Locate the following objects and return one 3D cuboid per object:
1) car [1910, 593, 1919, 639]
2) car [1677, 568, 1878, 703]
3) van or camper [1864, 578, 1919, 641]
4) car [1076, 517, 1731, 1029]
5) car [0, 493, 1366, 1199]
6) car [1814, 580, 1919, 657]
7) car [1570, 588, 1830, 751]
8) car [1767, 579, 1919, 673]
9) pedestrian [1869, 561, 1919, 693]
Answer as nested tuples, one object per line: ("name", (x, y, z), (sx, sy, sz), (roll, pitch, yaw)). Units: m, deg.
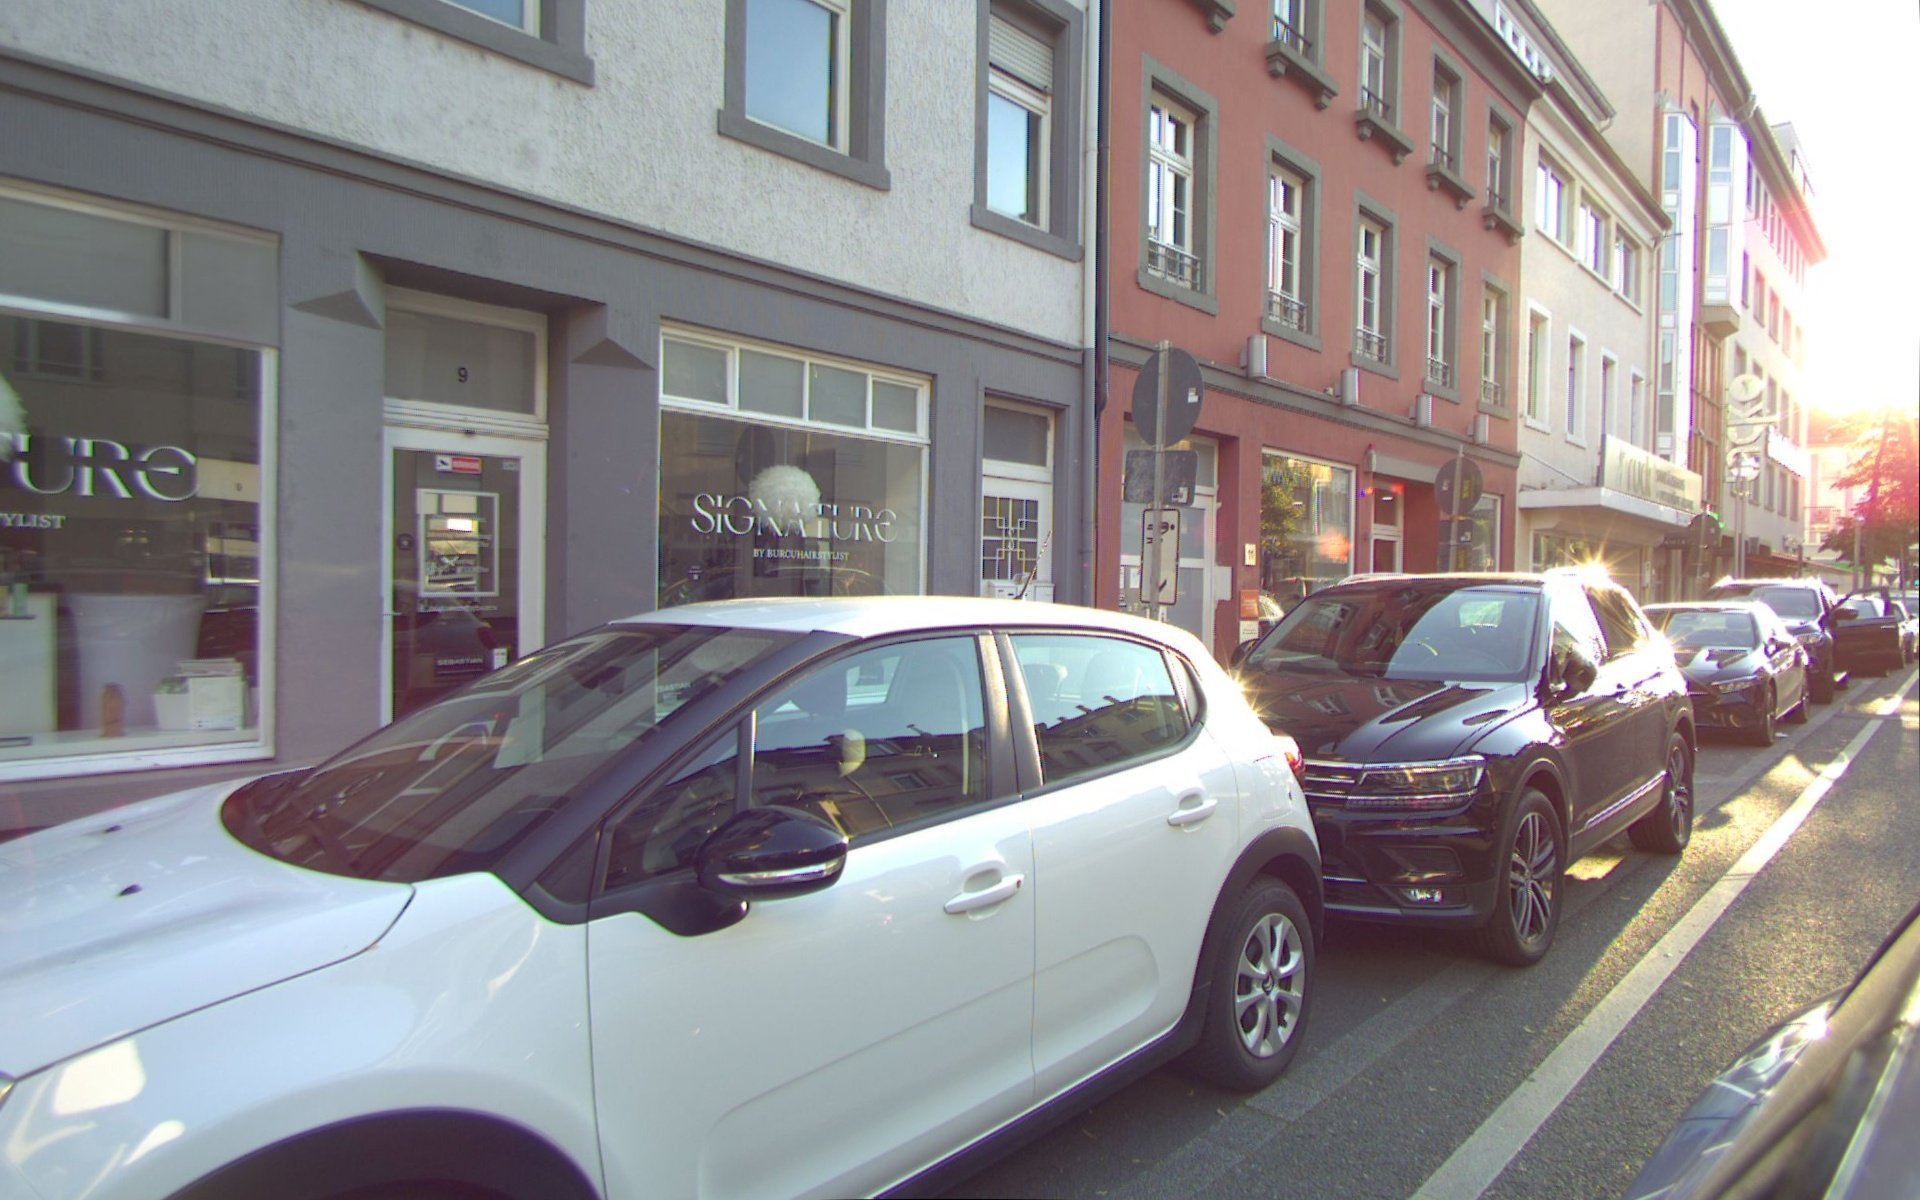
("car", (33.498, 0.540, 34.220), (3.722, 1.521, 1.692), (-1, 2, -42))
("car", (13.071, 0.433, 16.042), (1.994, 1.799, 5.234), (1, 1, 44))
("van or camper", (29.149, 0.265, 30.977), (4.482, 1.796, 1.790), (-1, 2, -43))
("car", (2.733, 0.564, 5.589), (4.387, 1.720, 1.795), (-1, 0, -44))
("car", (-0.648, 0.666, 2.615), (3.868, 1.593, 1.663), (-1, 0, -43))
("car", (22.232, 0.383, 24.468), (4.406, 1.675, 1.995), (-1, 2, -44))
("car", (8.590, 0.645, 11.594), (4.338, 1.507, 1.686), (-1, -1, -44))
("car", (18.049, 0.435, 20.516), (4.550, 1.676, 1.996), (-1, 1, -43))
("pedestrian", (13.643, 0.379, 14.777), (0.483, 1.881, 0.532), (1, 1, 39))
